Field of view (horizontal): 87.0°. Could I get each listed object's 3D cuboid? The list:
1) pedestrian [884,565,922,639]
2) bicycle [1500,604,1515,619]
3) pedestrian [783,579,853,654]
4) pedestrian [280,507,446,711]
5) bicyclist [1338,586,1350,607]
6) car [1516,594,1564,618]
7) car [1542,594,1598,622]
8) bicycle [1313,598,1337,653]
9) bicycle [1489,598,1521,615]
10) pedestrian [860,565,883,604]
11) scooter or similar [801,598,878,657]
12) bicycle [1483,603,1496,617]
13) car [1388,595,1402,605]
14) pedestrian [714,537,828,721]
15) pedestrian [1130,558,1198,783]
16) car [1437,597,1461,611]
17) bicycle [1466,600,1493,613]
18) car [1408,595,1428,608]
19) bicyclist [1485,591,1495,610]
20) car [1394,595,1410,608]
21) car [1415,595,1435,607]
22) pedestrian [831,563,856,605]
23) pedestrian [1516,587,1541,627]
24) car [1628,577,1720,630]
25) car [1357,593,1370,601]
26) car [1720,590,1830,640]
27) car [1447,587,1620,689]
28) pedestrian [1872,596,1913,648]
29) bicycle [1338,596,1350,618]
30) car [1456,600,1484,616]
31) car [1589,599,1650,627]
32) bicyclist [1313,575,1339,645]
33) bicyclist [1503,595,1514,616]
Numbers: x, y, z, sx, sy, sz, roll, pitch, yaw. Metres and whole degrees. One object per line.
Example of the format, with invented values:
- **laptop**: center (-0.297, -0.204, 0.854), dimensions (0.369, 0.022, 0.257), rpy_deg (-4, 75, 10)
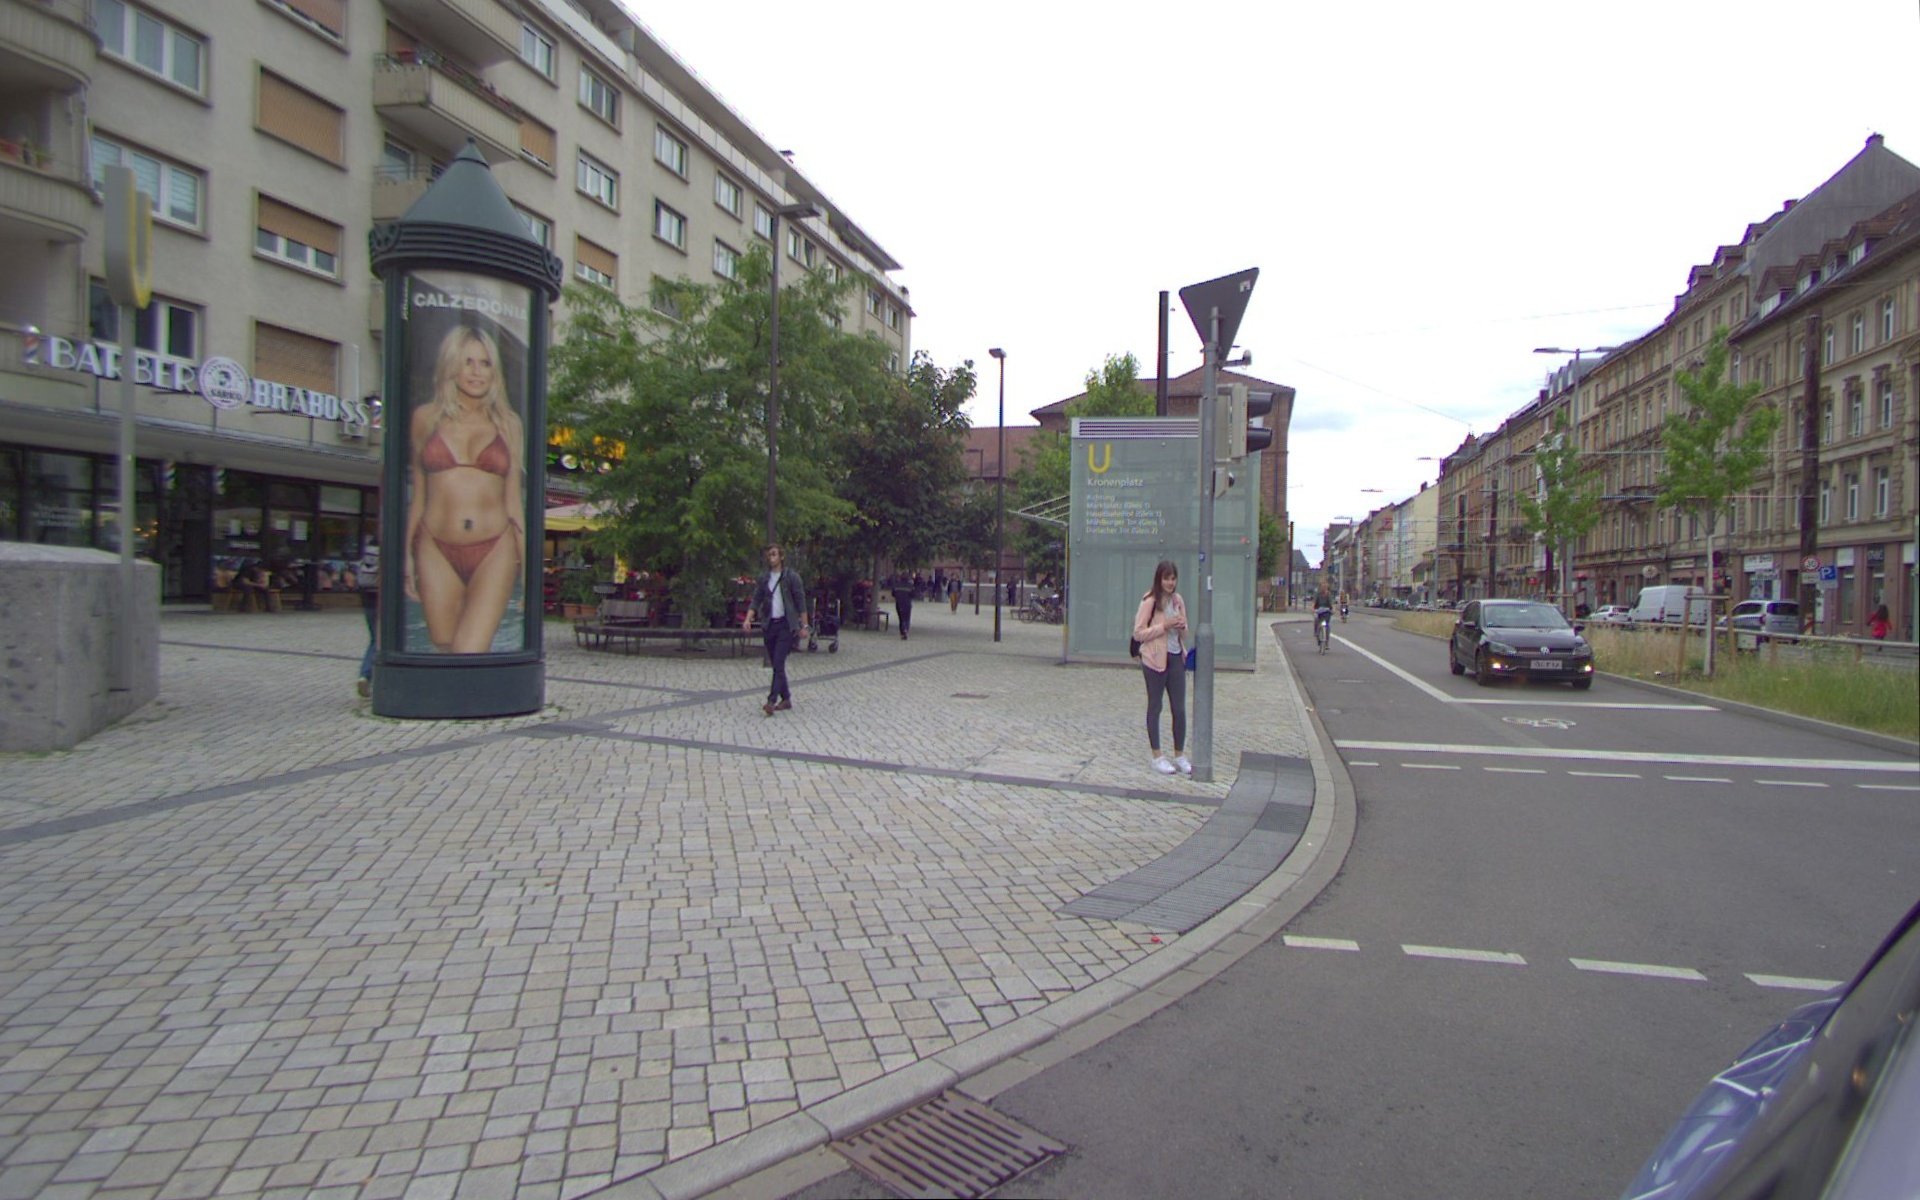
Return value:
- **pedestrian**: center (-1.339, 0.038, 23.916), dimensions (0.618, 1.705, 0.867), rpy_deg (3, 1, 13)
- **bicycle**: center (40.248, 0.837, 74.391), dimensions (0.471, 1.033, 1.903), rpy_deg (2, 1, 15)
- **pedestrian**: center (-2.642, 0.286, 18.898), dimensions (1.036, 1.313, 0.727), rpy_deg (3, 1, 23)
- **pedestrian**: center (-5.919, 0.062, 10.078), dimensions (0.798, 1.885, 1.142), rpy_deg (3, 1, 27)
- **bicyclist**: center (21.933, -0.185, 57.835), dimensions (0.579, 1.186, 0.659), rpy_deg (1, 1, 16)
- **car**: center (44.655, 0.462, 78.046), dimensions (1.792, 1.711, 5.010), rpy_deg (2, 1, 14)
- **car**: center (42.058, 0.508, 69.873), dimensions (1.898, 1.710, 5.028), rpy_deg (4, 1, 15)
- **bicycle**: center (9.105, 0.612, 25.263), dimensions (0.518, 1.276, 1.929), rpy_deg (1, 1, 19)
- **bicycle**: center (47.812, 0.540, 88.805), dimensions (2.259, 1.346, 0.662), rpy_deg (3, 1, 18)
- **pedestrian**: center (-4.171, -0.746, 47.546), dimensions (0.704, 1.773, 0.776), rpy_deg (3, 1, -35)
- **scooter or similar**: center (-2.224, 0.483, 18.560), dimensions (0.711, 0.960, 1.593), rpy_deg (2, 2, -35)
- **bicycle**: center (41.739, 0.772, 79.719), dimensions (0.474, 1.033, 1.903), rpy_deg (2, 1, 15)
- **car**: center (70.319, -0.017, 163.797), dimensions (1.683, 1.692, 4.157), rpy_deg (0, 1, 18)
- **pedestrian**: center (-2.005, 0.277, 10.854), dimensions (0.706, 1.824, 1.073), rpy_deg (4, 2, 16)
- **pedestrian**: center (1.671, 0.553, 8.346), dimensions (0.515, 1.784, 0.600), rpy_deg (0, 0, 9)
- **car**: center (54.582, 0.431, 113.024), dimensions (1.726, 1.507, 3.898), rpy_deg (2, 1, 17)
- **bicycle**: center (50.984, 0.618, 99.357), dimensions (2.259, 1.218, 0.544), rpy_deg (1, 0, 18)
- **car**: center (61.407, 0.197, 135.697), dimensions (1.805, 1.540, 4.520), rpy_deg (2, 0, 17)
- **bicyclist**: center (41.777, 0.022, 79.758), dimensions (0.473, 1.424, 0.808), rpy_deg (2, 1, 15)
- **car**: center (67.340, 0.201, 154.195), dimensions (1.686, 1.779, 3.896), rpy_deg (2, 1, 18)
- **car**: center (60.300, 0.138, 131.383), dimensions (1.725, 1.483, 4.025), rpy_deg (2, 1, 16)
- **pedestrian**: center (-5.315, -0.722, 46.185), dimensions (0.836, 1.909, 0.776), rpy_deg (0, 0, -35)
- **pedestrian**: center (28.241, 0.328, 50.257), dimensions (0.860, 1.925, 0.769), rpy_deg (3, 0, 16)
- **car**: center (37.400, 0.134, 53.207), dimensions (2.031, 2.517, 5.638), rpy_deg (4, 1, 15)
- **car**: center (81.225, -0.568, 203.777), dimensions (1.844, 1.582, 3.978), rpy_deg (3, 1, 17)
- **car**: center (34.469, 0.581, 42.971), dimensions (1.882, 1.888, 4.499), rpy_deg (3, 1, 15)
- **car**: center (9.812, 0.565, 17.609), dimensions (1.723, 1.566, 3.633), rpy_deg (1, 1, 15)
- **pedestrian**: center (31.688, 0.751, 34.394), dimensions (0.710, 1.707, 0.661), rpy_deg (1, 2, 7)
- **bicycle**: center (21.874, 0.395, 57.665), dimensions (0.466, 1.173, 2.261), rpy_deg (1, 1, 16)
- **car**: center (52.072, 0.767, 103.363), dimensions (1.725, 1.552, 4.203), rpy_deg (2, 1, 16)
- **car**: center (39.561, 0.742, 60.788), dimensions (1.752, 1.440, 4.145), rpy_deg (4, 1, 15)
- **bicyclist**: center (9.118, 0.249, 25.208), dimensions (0.564, 1.705, 0.788), rpy_deg (1, 0, 20)
- **bicyclist**: center (40.205, 0.399, 74.134), dimensions (0.486, 1.560, 0.808), rpy_deg (2, 1, 15)
